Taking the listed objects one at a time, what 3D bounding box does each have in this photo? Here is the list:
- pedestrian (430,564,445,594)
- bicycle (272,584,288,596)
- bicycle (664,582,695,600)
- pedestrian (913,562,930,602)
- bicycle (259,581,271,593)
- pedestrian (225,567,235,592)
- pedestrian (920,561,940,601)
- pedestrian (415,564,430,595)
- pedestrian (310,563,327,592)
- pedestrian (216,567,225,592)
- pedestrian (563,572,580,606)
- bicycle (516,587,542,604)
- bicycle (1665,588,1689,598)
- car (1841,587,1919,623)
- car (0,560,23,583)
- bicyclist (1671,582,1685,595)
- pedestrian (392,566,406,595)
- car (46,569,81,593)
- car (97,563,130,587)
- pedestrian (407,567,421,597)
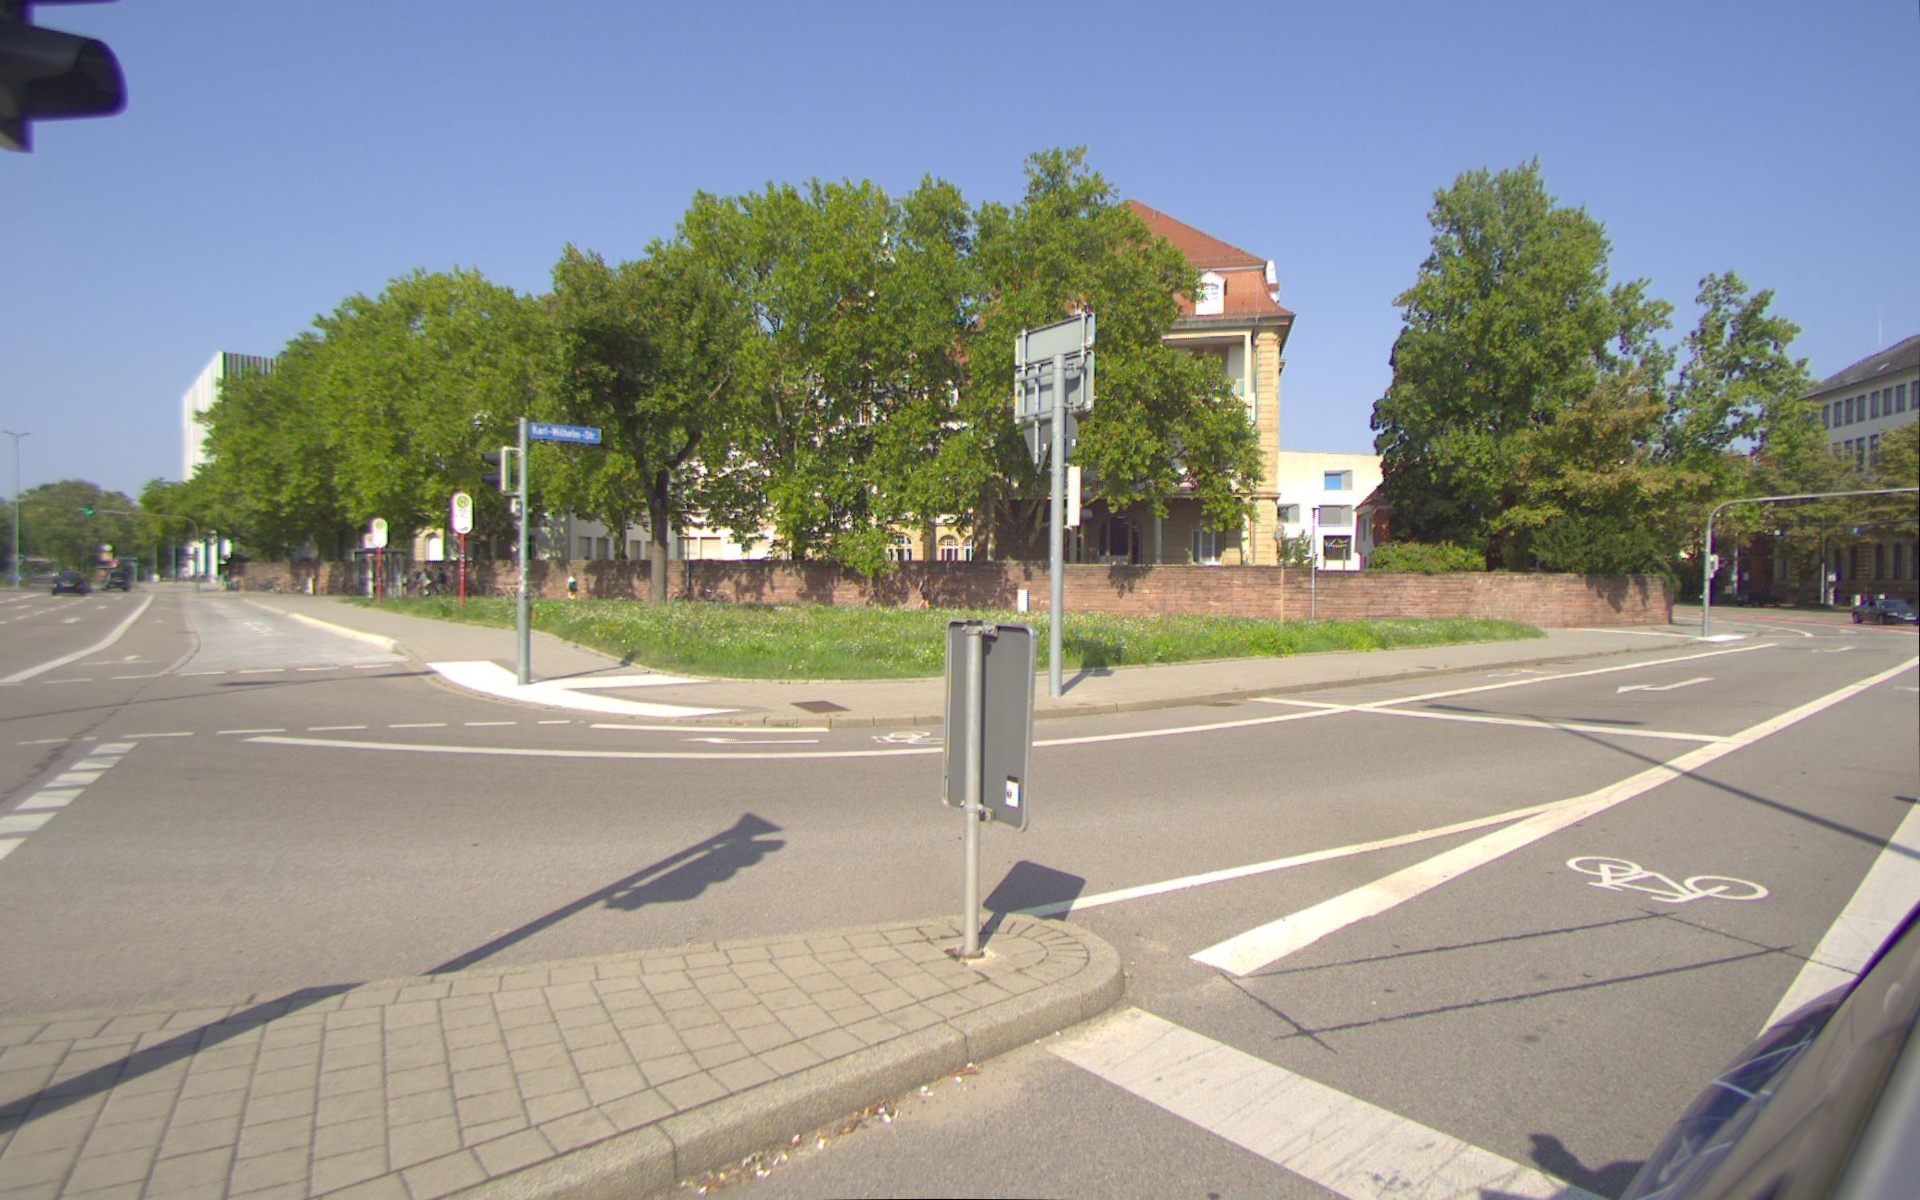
[{"bbox_3d":[-28.736,-1.147,55.635,0.590,1.673,0.478,-2,-1,32],"label":"pedestrian"},{"bbox_3d":[-47.719,-0.724,71.029,1.541,0.846,0.428,2,1,37],"label":"bicycle"},{"bbox_3d":[-13.612,-0.441,49.056,1.533,0.846,0.430,1,1,25],"label":"bicycle"},{"bbox_3d":[-1.631,-0.758,43.176,0.586,1.673,0.480,-1,-1,19],"label":"pedestrian"},{"bbox_3d":[-51.497,-0.986,75.015,1.545,0.846,0.427,2,2,43],"label":"bicycle"},{"bbox_3d":[-51.179,-1.425,70.960,0.478,1.762,0.504,0,-1,-43],"label":"pedestrian"},{"bbox_3d":[-1.290,-0.827,43.778,0.708,1.704,0.591,1,1,18],"label":"pedestrian"},{"bbox_3d":[-29.084,-1.112,54.744,0.590,1.673,0.514,-2,-1,32],"label":"pedestrian"},{"bbox_3d":[-43.561,-1.524,68.705,0.928,1.978,0.731,-2,-1,41],"label":"pedestrian"},{"bbox_3d":[-51.577,-1.420,70.560,0.478,1.762,0.504,0,-1,-43],"label":"pedestrian"},{"bbox_3d":[-19.344,-0.549,50.373,0.588,1.673,0.478,-2,-1,27],"label":"pedestrian"},{"bbox_3d":[-22.804,-0.230,53.552,1.535,0.846,0.430,1,1,27],"label":"bicycle"},{"bbox_3d":[72.137,-0.677,101.782,0.653,0.968,2.092,0,1,-11],"label":"bicycle"},{"bbox_3d":[49.435,0.235,53.782,1.968,1.629,4.236,-1,2,10],"label":"car"},{"bbox_3d":[-89.319,-2.639,94.891,3.984,2.039,1.890,-2,-1,42],"label":"car"},{"bbox_3d":[72.143,-1.171,101.748,0.653,1.356,0.927,0,1,-11],"label":"bicyclist"},{"bbox_3d":[-31.312,-1.085,56.480,0.498,1.591,0.529,-2,-1,29],"label":"pedestrian"},{"bbox_3d":[-60.020,-1.277,67.745,1.683,1.593,3.992,-1,2,-42],"label":"car"},{"bbox_3d":[-78.299,-2.307,93.607,3.984,2.039,1.890,-2,-1,42],"label":"car"},{"bbox_3d":[-30.943,-1.034,57.322,0.590,1.673,0.478,-2,-1,32],"label":"pedestrian"}]
